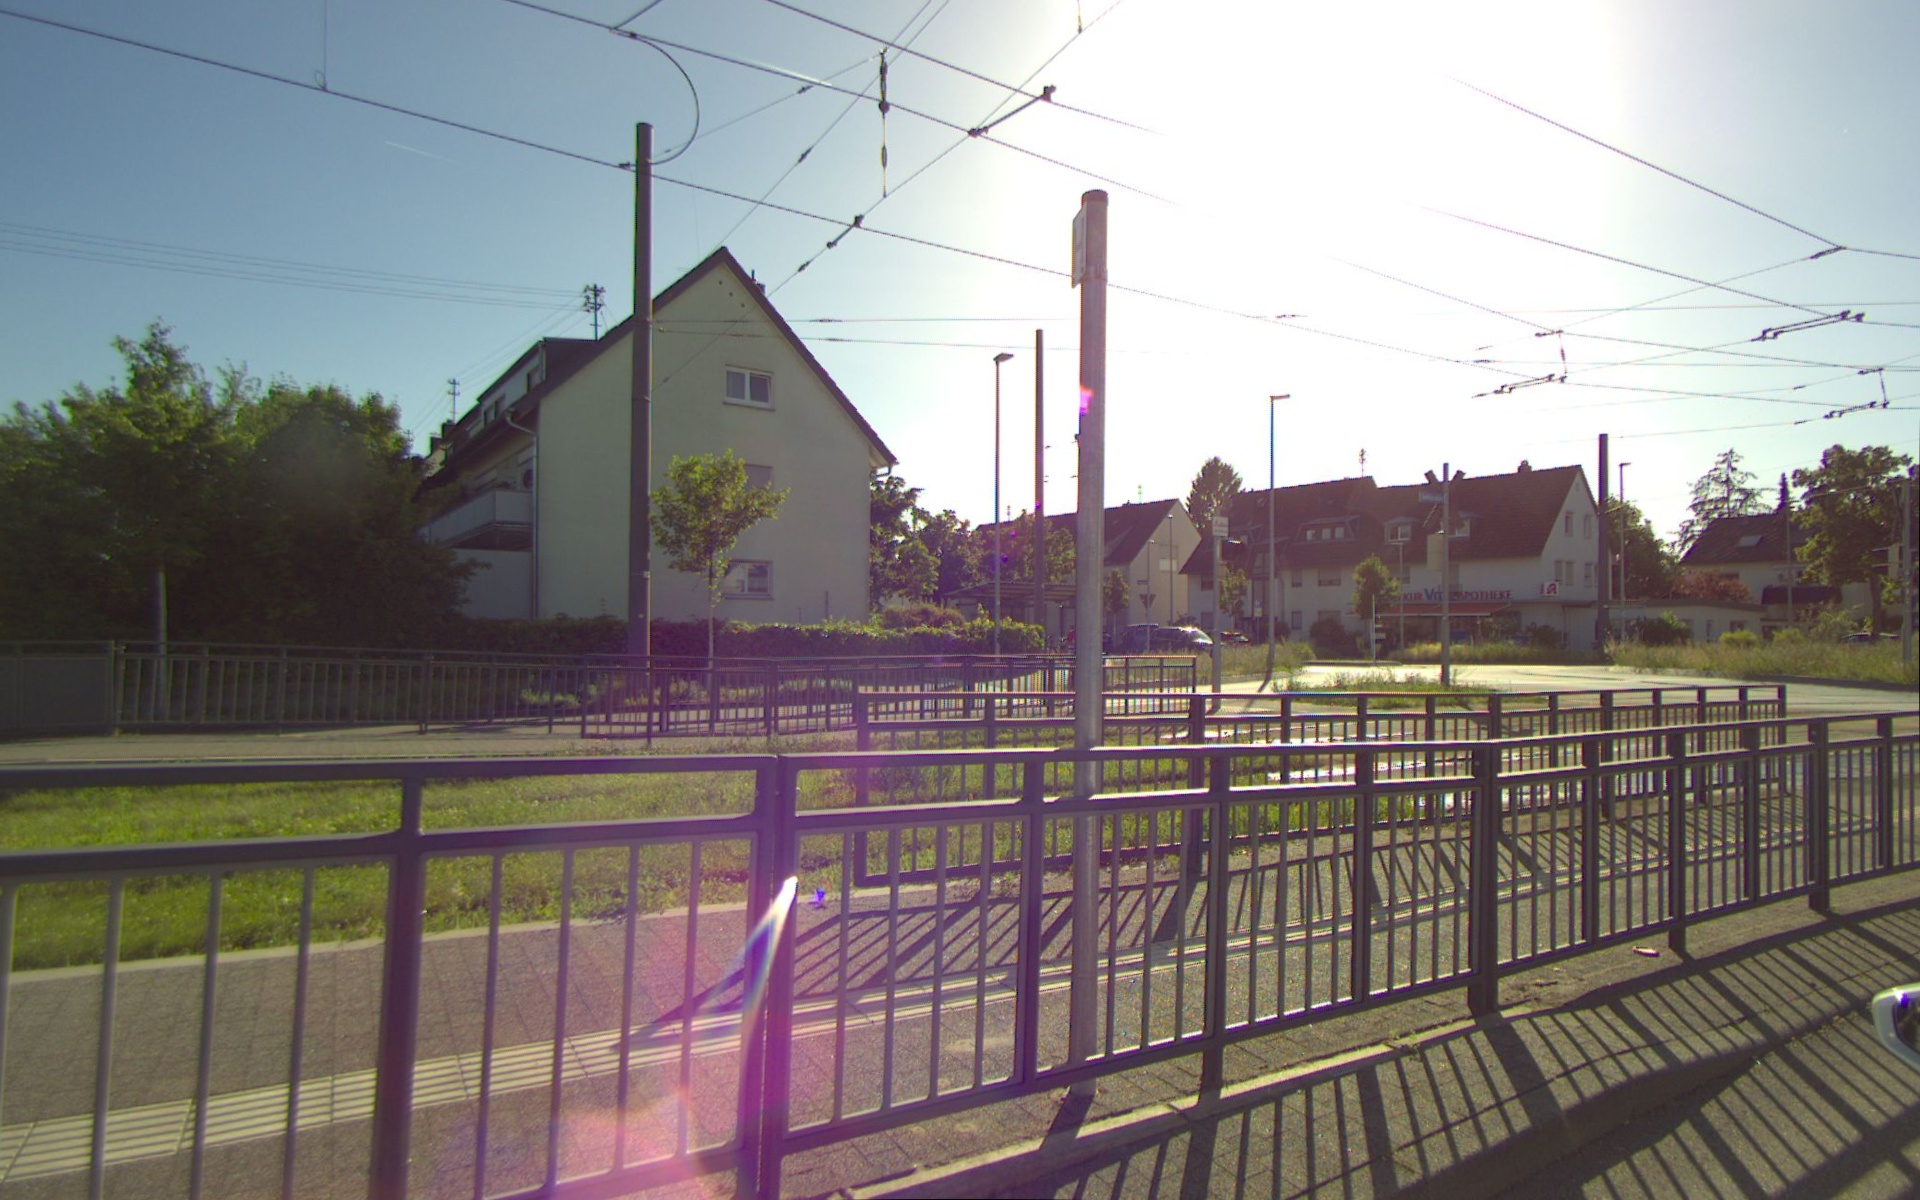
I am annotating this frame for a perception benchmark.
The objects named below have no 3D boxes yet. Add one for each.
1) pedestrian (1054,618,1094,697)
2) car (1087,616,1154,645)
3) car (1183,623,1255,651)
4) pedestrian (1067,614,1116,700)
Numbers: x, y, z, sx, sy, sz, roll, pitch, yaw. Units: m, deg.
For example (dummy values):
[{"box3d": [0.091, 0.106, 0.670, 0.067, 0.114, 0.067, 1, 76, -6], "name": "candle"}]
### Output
[{"box3d": [2.583, 1.287, 22.720, 0.682, 1.755, 0.589, 1, -1, -34], "name": "pedestrian"}, {"box3d": [9.781, 1.880, 61.456, 1.813, 1.620, 3.806, 2, -1, -40], "name": "car"}, {"box3d": [14.379, 2.039, 55.913, 1.806, 1.492, 3.480, 1, -2, -40], "name": "car"}, {"box3d": [2.797, 1.204, 21.367, 0.764, 1.785, 0.724, 1, -1, -34], "name": "pedestrian"}]
